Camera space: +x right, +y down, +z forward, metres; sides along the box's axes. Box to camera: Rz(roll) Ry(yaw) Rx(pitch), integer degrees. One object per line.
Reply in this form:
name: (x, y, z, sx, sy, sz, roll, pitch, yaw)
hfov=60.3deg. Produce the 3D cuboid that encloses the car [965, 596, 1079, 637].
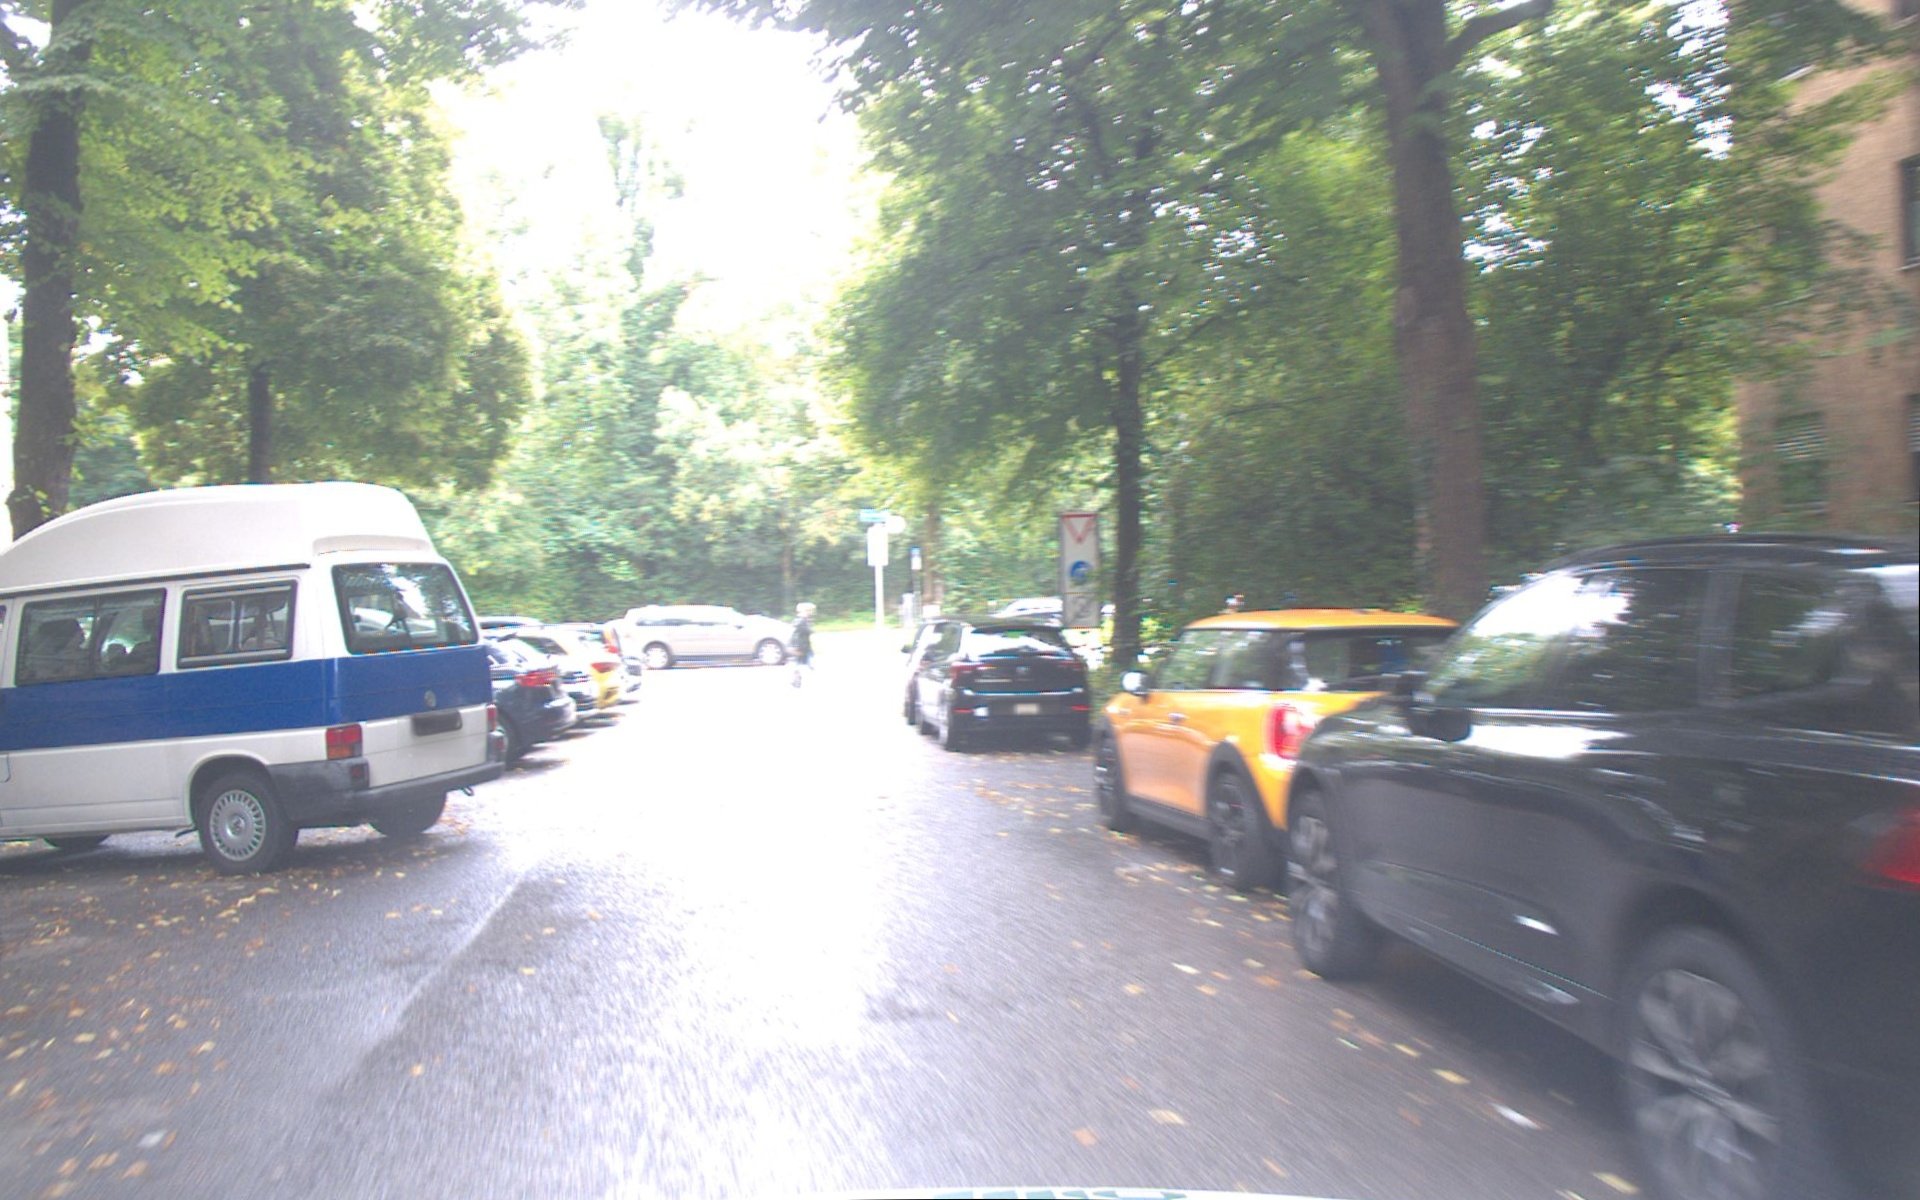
car: (2.651, 0.699, 71.098, 4.506, 1.497, 1.924, -3, 0, -15)

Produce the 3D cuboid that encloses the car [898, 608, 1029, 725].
car: (-0.017, 0.897, 24.050, 1.615, 1.500, 3.640, -2, 0, -4)

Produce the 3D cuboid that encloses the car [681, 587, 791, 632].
car: (-9.226, 0.397, 68.150, 4.353, 1.606, 1.928, -3, 0, -9)

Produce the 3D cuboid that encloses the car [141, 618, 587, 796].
car: (-5.922, 1.032, 16.861, 3.912, 1.458, 1.733, -3, 0, -7)

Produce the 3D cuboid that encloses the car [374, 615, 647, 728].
car: (-7.087, 1.104, 26.403, 3.912, 1.489, 1.733, -3, 1, -7)

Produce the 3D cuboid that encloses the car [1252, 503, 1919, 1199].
car: (2.435, 0.620, 5.106, 1.796, 1.657, 4.519, -2, 0, -6)

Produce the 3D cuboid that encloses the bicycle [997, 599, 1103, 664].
bicycle: (1.505, 0.522, 27.644, 1.716, 0.999, 0.273, -3, 0, 2)

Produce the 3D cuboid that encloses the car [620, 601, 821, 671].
car: (-5.904, 0.865, 41.111, 4.704, 1.522, 1.842, -2, 0, -2)

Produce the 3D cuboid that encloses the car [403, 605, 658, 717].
car: (-7.523, 1.037, 29.279, 4.084, 1.629, 1.733, -3, 2, -7)

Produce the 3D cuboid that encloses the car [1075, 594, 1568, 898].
car: (1.955, 0.716, 10.100, 1.589, 1.437, 3.771, -2, 0, -10)

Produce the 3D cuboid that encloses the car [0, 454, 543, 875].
car: (-5.367, 0.475, 11.176, 4.472, 2.419, 1.906, -3, 0, 16)

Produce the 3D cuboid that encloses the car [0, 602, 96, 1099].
car: (-5.057, 0.928, 5.575, 3.778, 1.588, 1.815, -4, -1, 24)

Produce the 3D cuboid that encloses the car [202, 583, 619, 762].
car: (-6.331, 0.799, 19.454, 4.228, 1.761, 1.847, -3, 0, -4)

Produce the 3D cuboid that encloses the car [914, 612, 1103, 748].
car: (0.470, 0.872, 19.825, 1.650, 1.382, 4.002, -1, 0, -7)

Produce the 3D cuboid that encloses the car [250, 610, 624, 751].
car: (-6.853, 1.027, 22.034, 4.358, 1.624, 1.835, -2, 0, -2)

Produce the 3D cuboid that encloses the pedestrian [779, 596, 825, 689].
pedestrian: (-2.905, 0.767, 30.501, 0.764, 1.645, 0.760, -2, 2, -4)

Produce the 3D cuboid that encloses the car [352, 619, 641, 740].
car: (-6.691, 1.120, 24.236, 3.807, 1.466, 1.737, -3, 0, -8)
